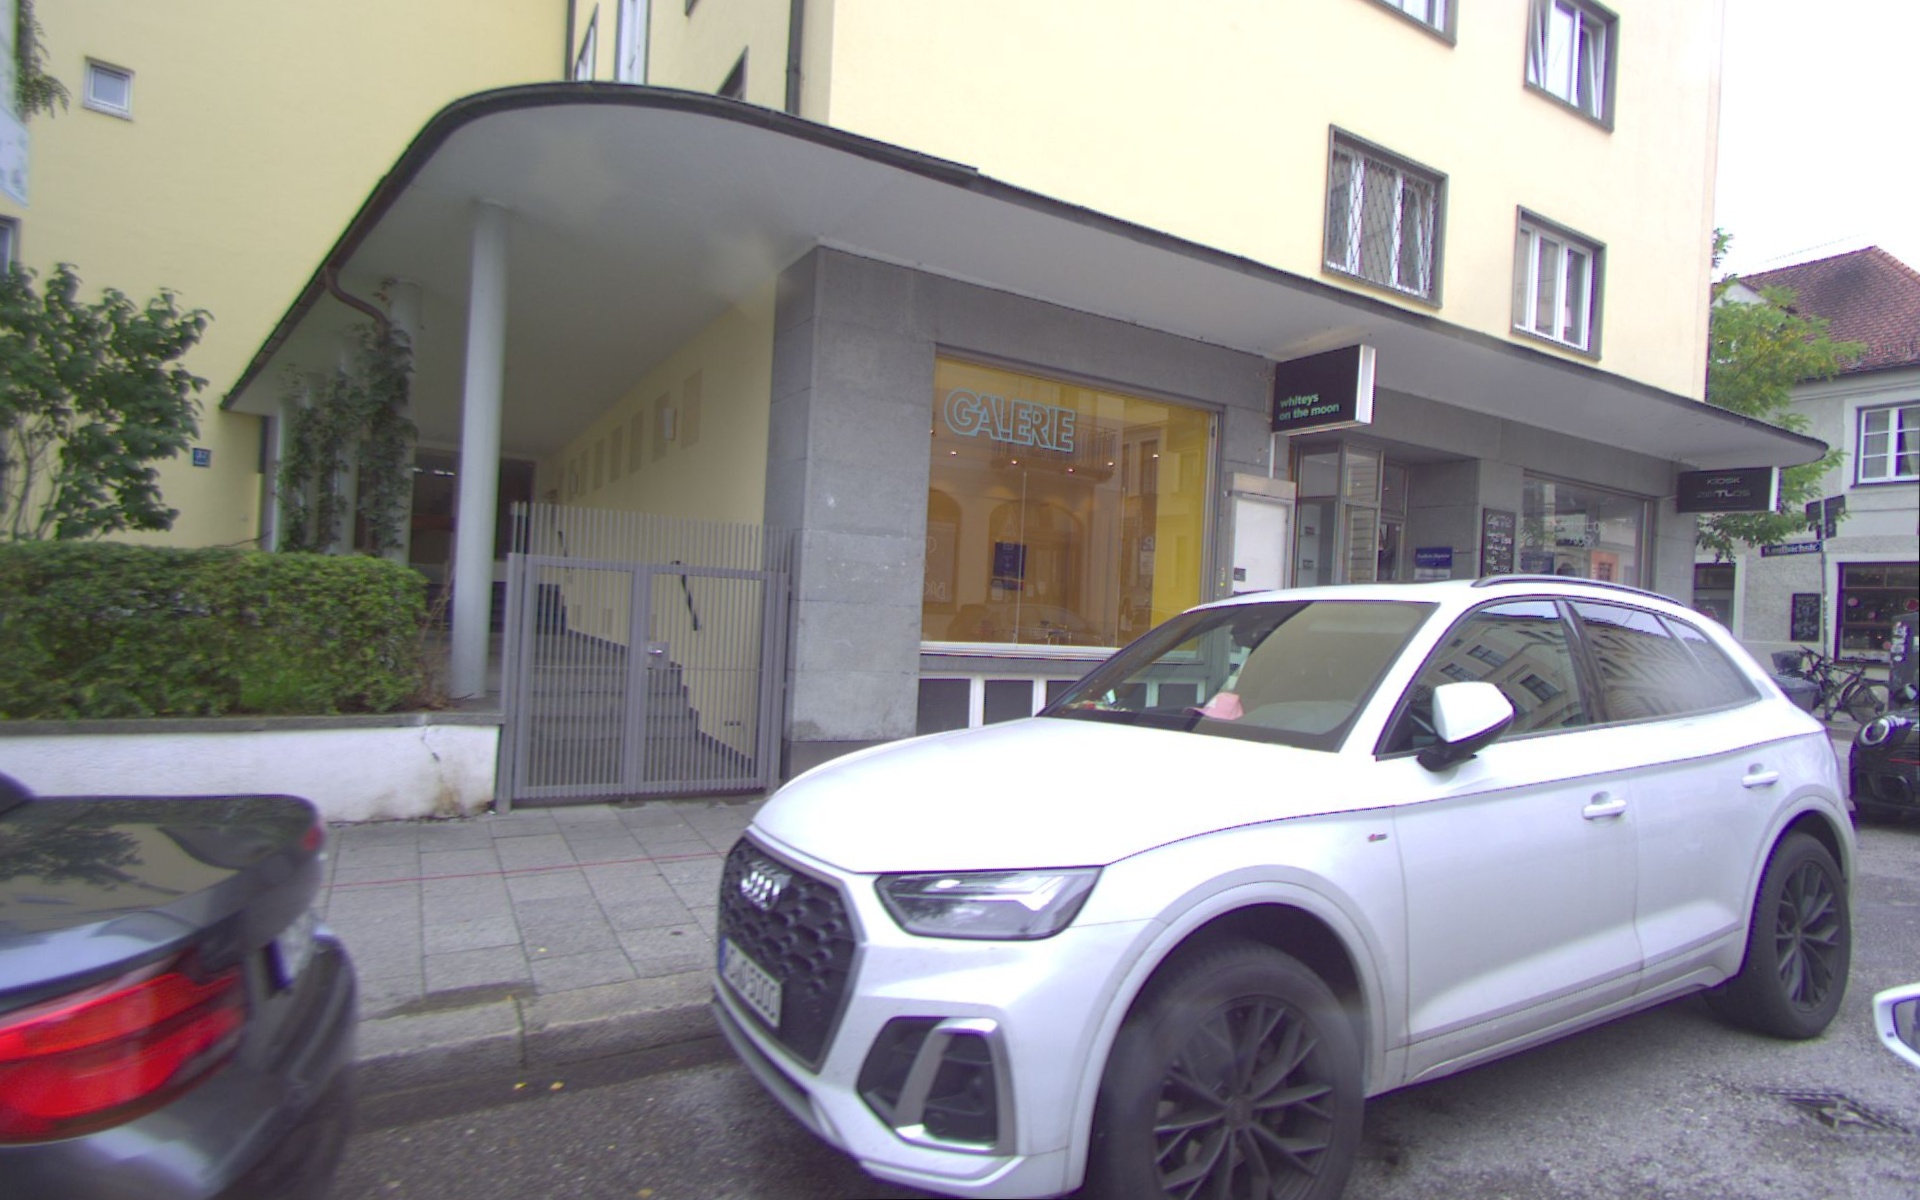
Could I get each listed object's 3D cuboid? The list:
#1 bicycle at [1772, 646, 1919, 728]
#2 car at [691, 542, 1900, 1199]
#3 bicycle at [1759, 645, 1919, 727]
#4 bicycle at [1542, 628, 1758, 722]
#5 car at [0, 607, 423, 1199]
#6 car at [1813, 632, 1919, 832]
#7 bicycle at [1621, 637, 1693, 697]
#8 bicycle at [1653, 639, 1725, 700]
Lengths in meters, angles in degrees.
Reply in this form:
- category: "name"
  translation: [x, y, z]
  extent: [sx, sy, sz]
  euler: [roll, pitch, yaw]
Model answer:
- category: "bicycle"
  translation: [13.963, 1.332, 15.802]
  extent: [0.387, 1.049, 1.811]
  euler: [2, 2, -26]
- category: "car"
  translation: [1.398, 0.747, 3.656]
  extent: [4.286, 1.605, 1.794]
  euler: [1, -1, -30]
- category: "bicycle"
  translation: [13.610, 1.305, 15.618]
  extent: [0.387, 1.049, 1.811]
  euler: [2, 2, -26]
- category: "bicycle"
  translation: [11.227, 1.182, 16.506]
  extent: [0.807, 1.227, 2.832]
  euler: [4, 1, -26]
- category: "car"
  translation: [-2.961, 0.686, 1.180]
  extent: [4.049, 1.429, 1.737]
  euler: [2, -1, -30]
- category: "car"
  translation: [9.093, 1.083, 8.402]
  extent: [4.048, 1.491, 1.672]
  euler: [3, -1, -29]
- category: "bicycle"
  translation: [12.412, 1.202, 17.870]
  extent: [1.698, 0.978, 0.377]
  euler: [4, 1, -33]
- category: "bicycle"
  translation: [12.672, 1.213, 17.453]
  extent: [1.698, 0.978, 0.377]
  euler: [4, 1, -33]
